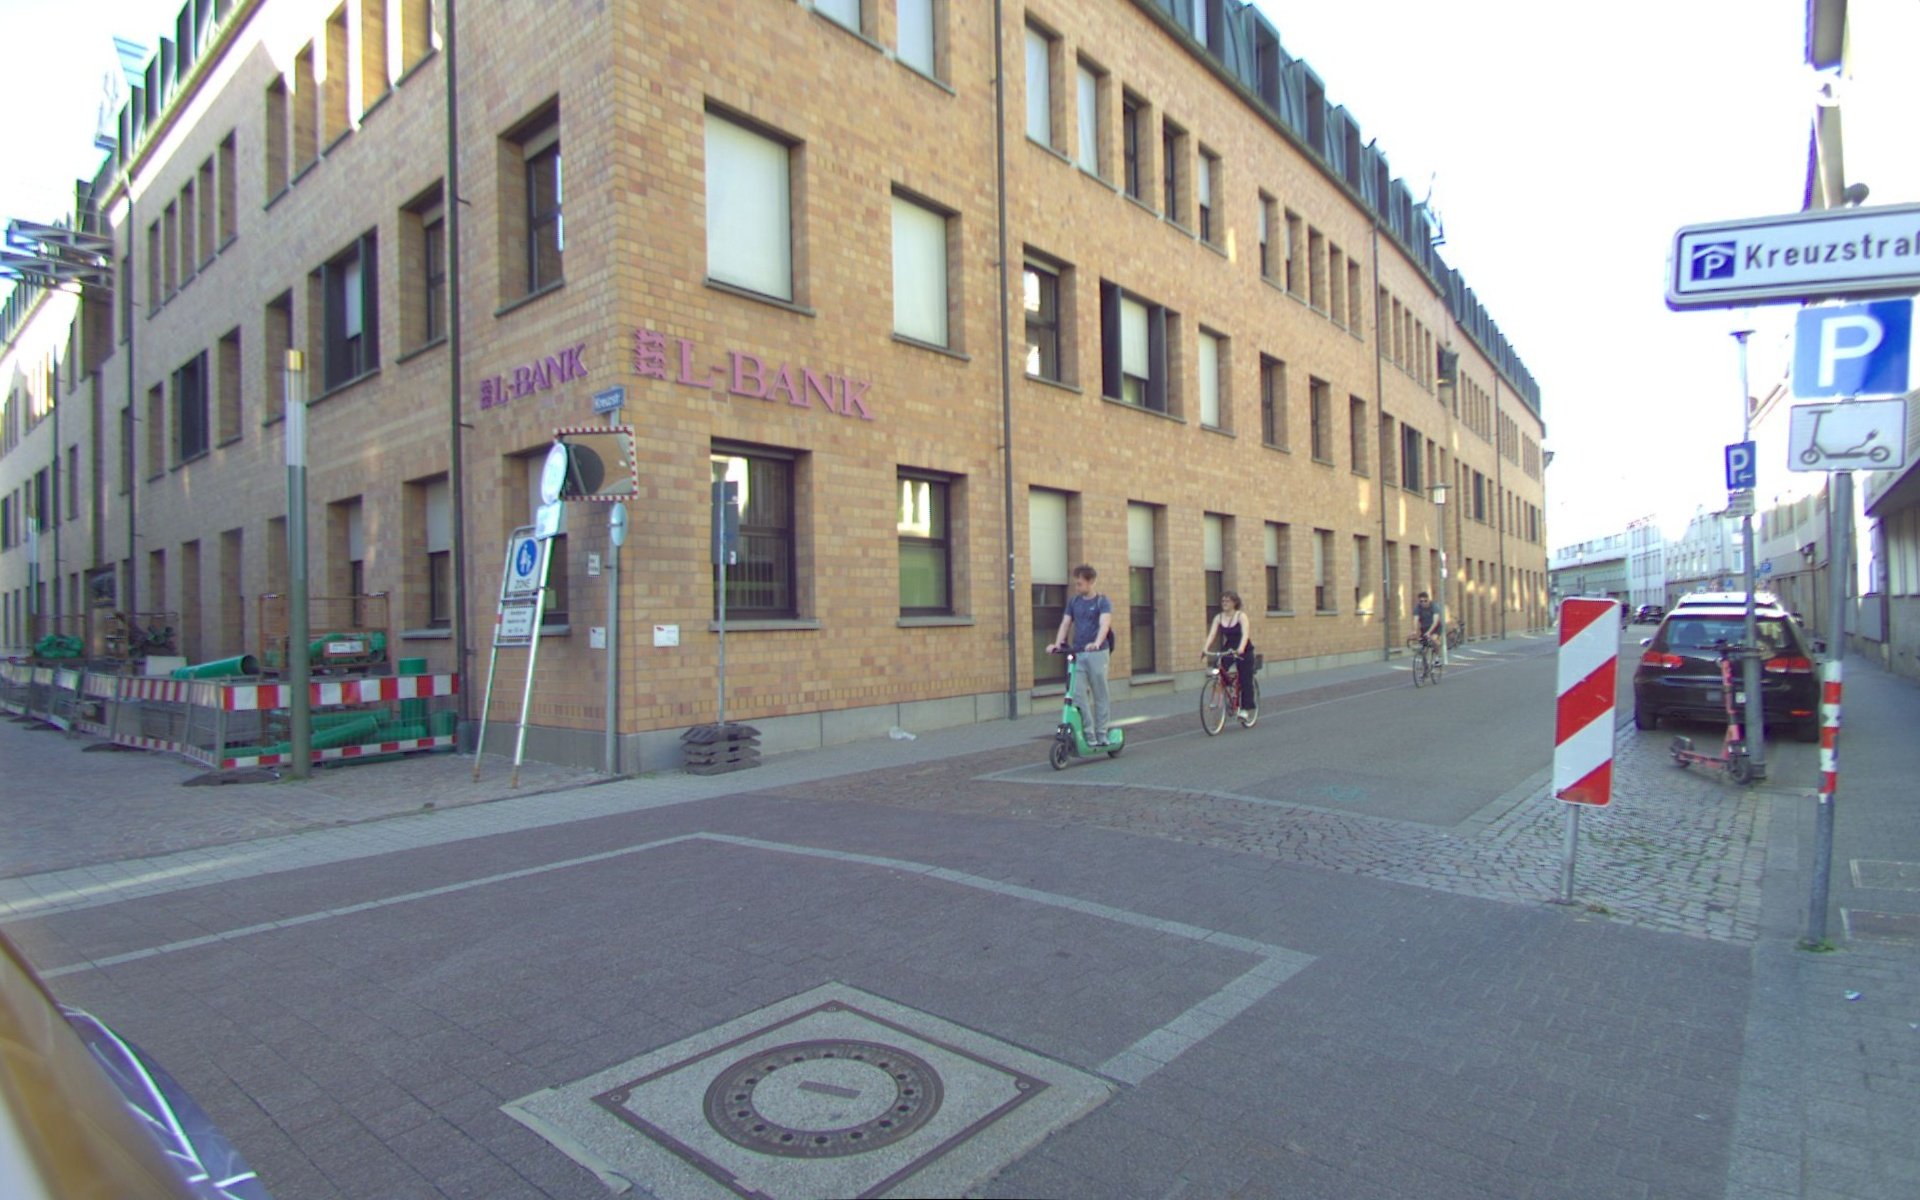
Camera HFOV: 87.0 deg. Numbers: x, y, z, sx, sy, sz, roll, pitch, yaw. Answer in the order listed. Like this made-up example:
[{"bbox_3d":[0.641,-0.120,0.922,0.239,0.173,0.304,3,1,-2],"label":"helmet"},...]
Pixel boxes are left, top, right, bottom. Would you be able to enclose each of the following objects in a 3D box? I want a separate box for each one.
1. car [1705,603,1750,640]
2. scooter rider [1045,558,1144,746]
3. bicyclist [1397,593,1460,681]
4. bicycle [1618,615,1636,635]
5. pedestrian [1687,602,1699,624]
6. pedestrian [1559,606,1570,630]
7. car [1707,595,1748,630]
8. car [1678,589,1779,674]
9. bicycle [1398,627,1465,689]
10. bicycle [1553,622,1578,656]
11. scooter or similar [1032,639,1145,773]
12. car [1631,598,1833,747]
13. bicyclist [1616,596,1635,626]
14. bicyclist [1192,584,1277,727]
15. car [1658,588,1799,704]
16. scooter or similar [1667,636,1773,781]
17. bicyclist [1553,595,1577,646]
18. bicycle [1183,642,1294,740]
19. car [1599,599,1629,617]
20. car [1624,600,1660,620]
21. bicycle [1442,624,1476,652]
[{"bbox_3d":[37.117,1.024,48.998,1.691,1.692,3.464,0,0,37],"label":"car"},{"bbox_3d":[1.315,0.498,9.877,0.649,1.739,0.692,-3,-3,44],"label":"scooter rider"},{"bbox_3d":[8.779,0.686,18.944,0.650,1.570,1.094,-7,-5,43],"label":"bicyclist"},{"bbox_3d":[38.081,1.426,57.795,0.703,1.112,1.806,-6,-4,35],"label":"bicycle"},{"bbox_3d":[49.391,0.885,68.193,0.570,1.490,0.469,-2,-2,32],"label":"pedestrian"},{"bbox_3d":[39.745,1.163,66.569,0.542,1.556,0.400,-1,-1,38],"label":"pedestrian"},{"bbox_3d":[40.604,0.662,53.572,1.691,1.789,3.610,0,0,37],"label":"car"},{"bbox_3d":[17.092,0.636,22.456,1.672,1.717,3.960,0,0,39],"label":"car"},{"bbox_3d":[8.857,1.065,18.972,0.573,1.059,1.811,-6,-4,41],"label":"bicycle"},{"bbox_3d":[18.121,1.151,30.272,0.435,0.964,1.570,-2,-2,38],"label":"bicycle"},{"bbox_3d":[1.259,0.990,9.766,0.337,1.195,1.261,-6,-5,44],"label":"scooter or similar"},{"bbox_3d":[9.483,0.745,12.434,1.739,1.497,3.762,0,1,39],"label":"car"},{"bbox_3d":[38.008,0.637,57.808,0.771,1.668,0.945,-6,-4,36],"label":"bicyclist"},{"bbox_3d":[3.365,0.671,12.405,0.619,1.679,0.813,-6,-4,40],"label":"bicyclist"},{"bbox_3d":[12.719,0.667,16.704,1.672,1.674,4.027,0,0,39],"label":"car"},{"bbox_3d":[6.652,0.924,8.887,0.205,1.193,0.882,-1,-2,-1],"label":"scooter or similar"},{"bbox_3d":[18.100,0.611,30.282,0.427,1.509,0.864,-5,-3,37],"label":"bicyclist"},{"bbox_3d":[3.439,1.081,12.401,0.591,1.060,1.777,-5,-3,39],"label":"bicycle"},{"bbox_3d":[64.667,0.796,100.074,1.925,1.663,3.804,-1,-1,25],"label":"car"},{"bbox_3d":[57.643,0.850,85.617,1.925,1.663,3.804,-2,-1,25],"label":"car"},{"bbox_3d":[17.584,1.316,35.651,0.642,0.888,2.525,-1,-1,36],"label":"bicycle"}]
